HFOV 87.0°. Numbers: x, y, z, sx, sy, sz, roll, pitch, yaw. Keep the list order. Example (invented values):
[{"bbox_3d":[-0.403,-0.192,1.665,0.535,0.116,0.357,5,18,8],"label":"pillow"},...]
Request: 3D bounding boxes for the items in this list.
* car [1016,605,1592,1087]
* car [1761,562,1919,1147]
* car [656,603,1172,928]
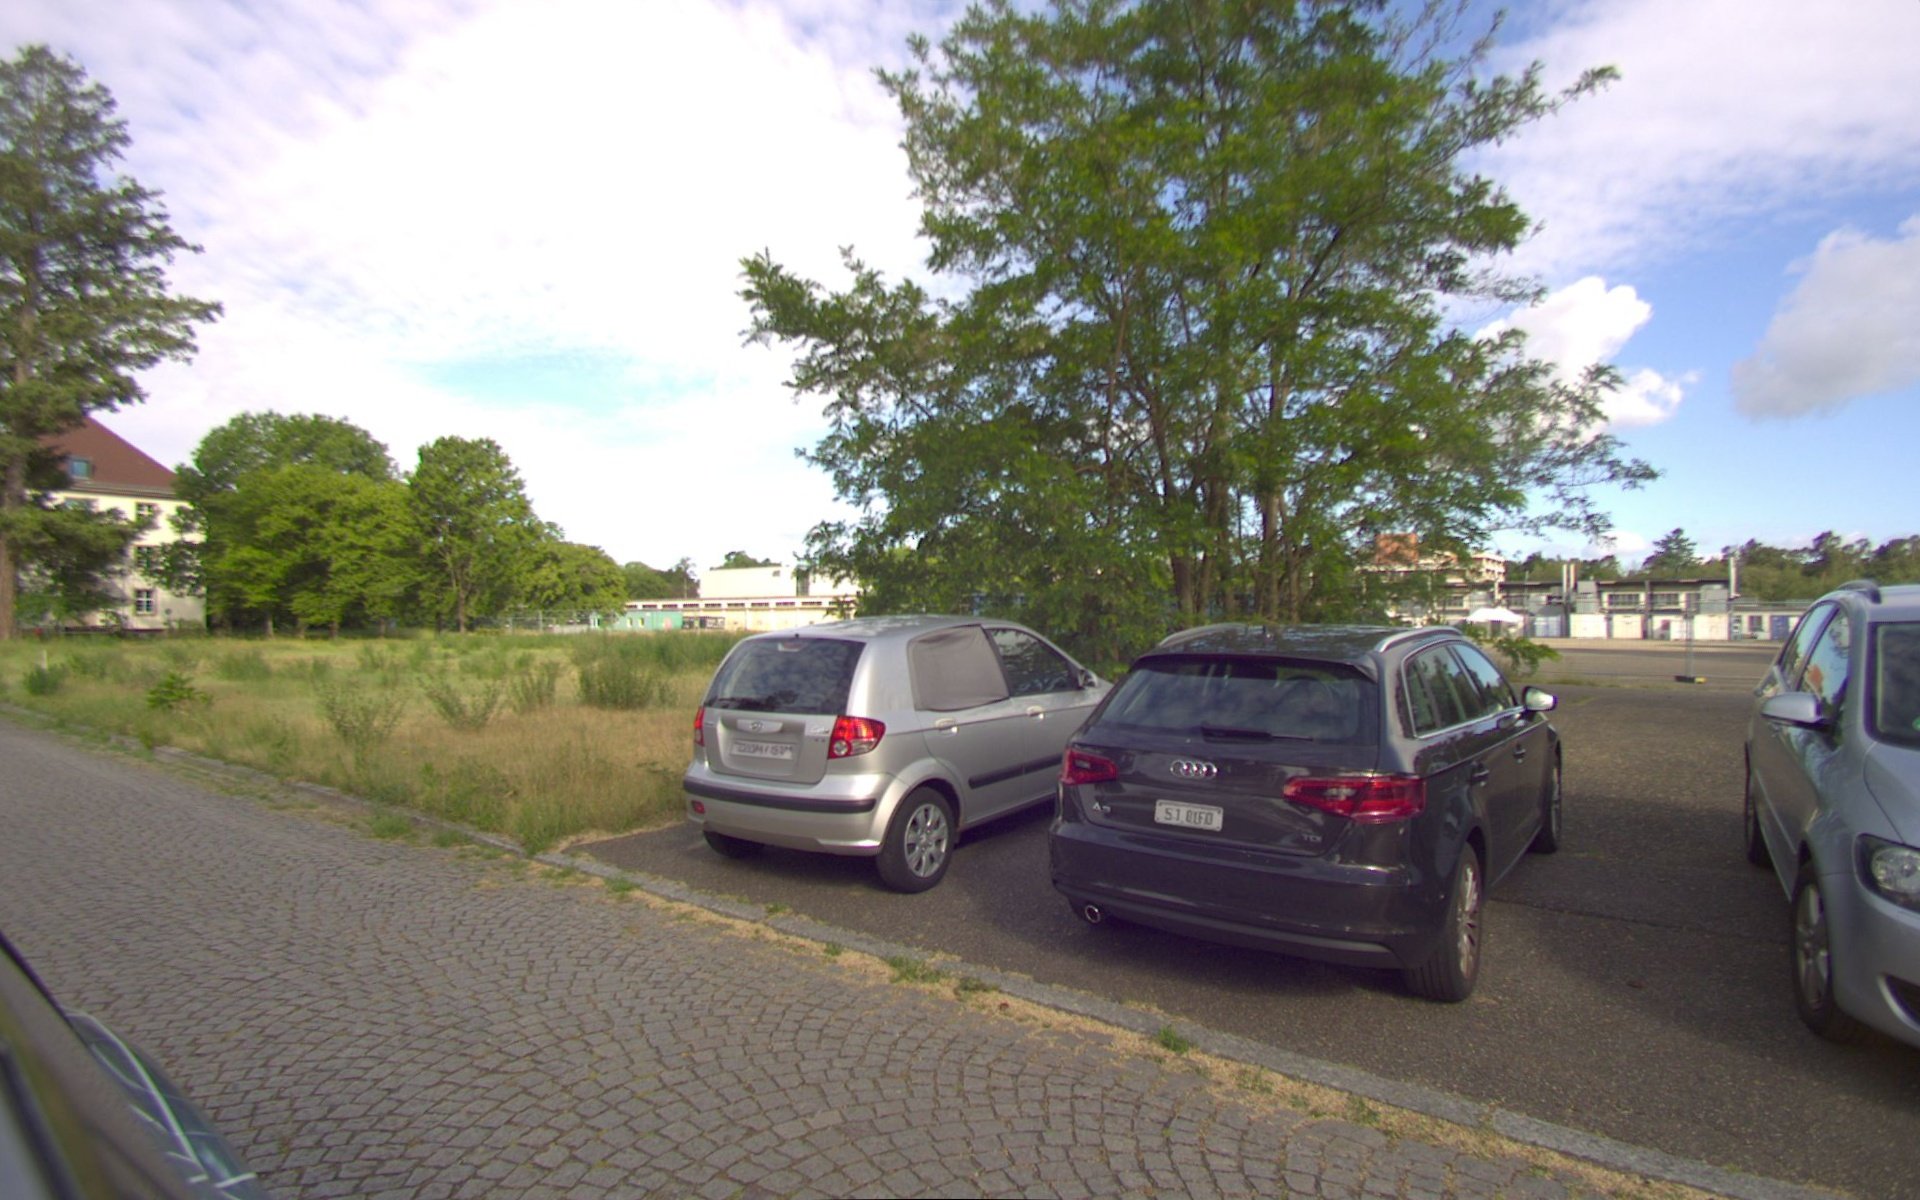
[{"bbox_3d":[2.065,0.802,5.244,1.693,1.419,3.800,-1,1,37],"label":"car"},{"bbox_3d":[4.349,0.657,3.904,1.732,1.619,3.798,-1,0,35],"label":"car"},{"bbox_3d":[-0.066,0.819,6.855,1.644,1.487,3.545,-1,1,36],"label":"car"}]
